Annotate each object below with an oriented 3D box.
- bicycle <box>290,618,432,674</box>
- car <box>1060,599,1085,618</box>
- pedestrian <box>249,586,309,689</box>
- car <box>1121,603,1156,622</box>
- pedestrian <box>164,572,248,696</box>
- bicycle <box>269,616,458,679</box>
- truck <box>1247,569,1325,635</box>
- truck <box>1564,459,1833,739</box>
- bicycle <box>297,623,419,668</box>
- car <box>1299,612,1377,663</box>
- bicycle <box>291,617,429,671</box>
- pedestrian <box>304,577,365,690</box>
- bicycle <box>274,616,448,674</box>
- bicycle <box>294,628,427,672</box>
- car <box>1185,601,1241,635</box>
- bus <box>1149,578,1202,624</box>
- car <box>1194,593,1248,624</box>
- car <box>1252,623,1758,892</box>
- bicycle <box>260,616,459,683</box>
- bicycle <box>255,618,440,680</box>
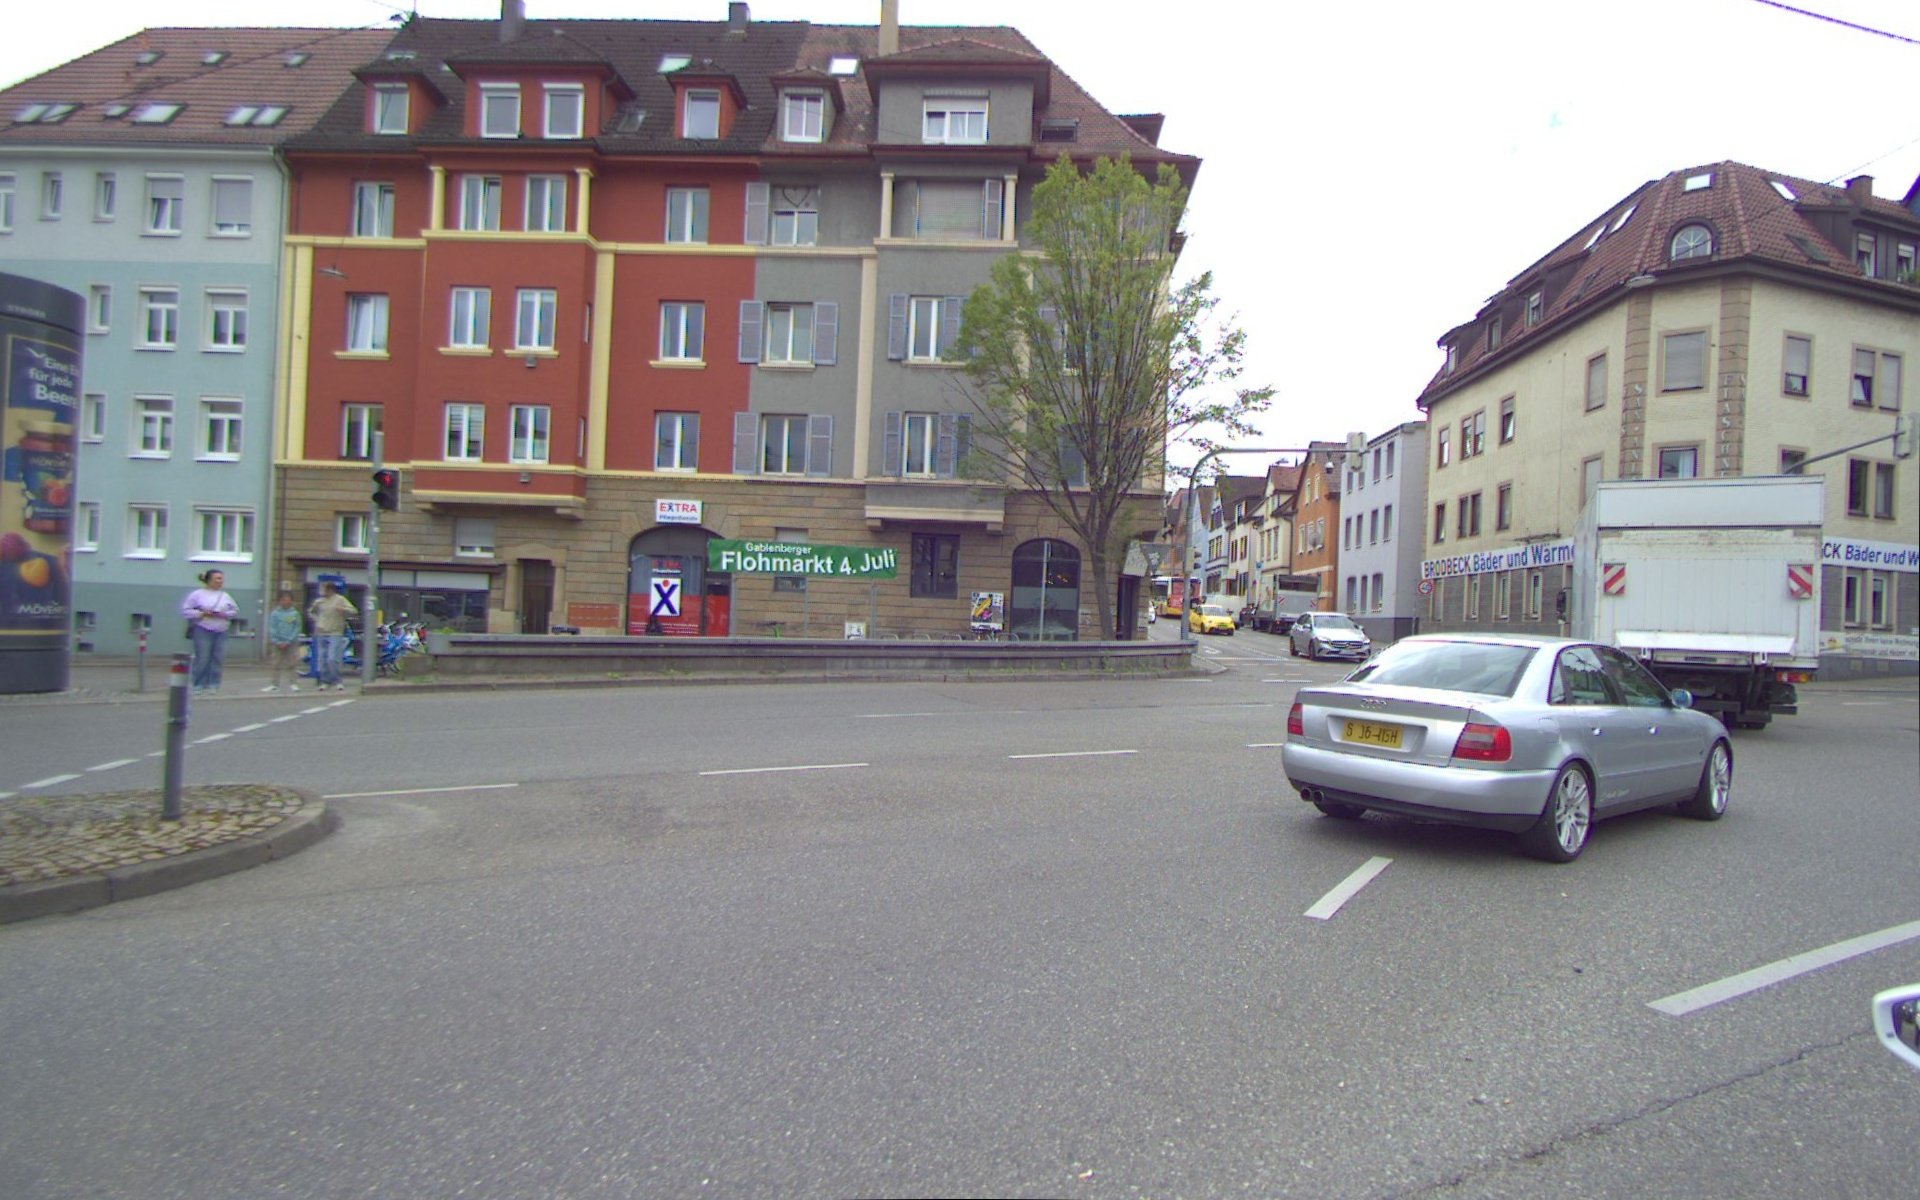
[{"bbox_3d":[-14.050,1.067,23.626,2.804,1.218,0.812,1,0,-33],"label":"bicycle"},{"bbox_3d":[9.552,0.686,85.418,1.810,1.556,4.001,1,0,3],"label":"car"},{"bbox_3d":[-9.234,0.492,13.638,0.576,1.356,0.572,1,1,-26],"label":"pedestrian"},{"bbox_3d":[11.429,0.763,64.523,1.727,1.142,3.672,1,0,3],"label":"car"},{"bbox_3d":[-9.885,0.424,13.203,0.728,1.567,0.790,1,1,-26],"label":"pedestrian"},{"bbox_3d":[-12.395,0.974,21.004,3.323,1.218,0.812,1,0,-33],"label":"bicycle"},{"bbox_3d":[18.207,0.081,56.418,2.645,3.399,5.440,2,1,3],"label":"truck"},{"bbox_3d":[12.089,0.077,17.228,2.685,3.591,8.406,2,-1,30],"label":"truck"},{"bbox_3d":[-15.370,1.142,25.690,2.633,1.084,0.629,1,0,-33],"label":"bicycle"},{"bbox_3d":[12.345,1.188,33.051,1.843,1.489,3.978,2,0,13],"label":"car"},{"bbox_3d":[-14.512,1.046,24.367,2.804,1.218,0.812,1,0,-33],"label":"bicycle"},{"bbox_3d":[-8.580,0.452,13.793,0.645,1.507,0.520,1,1,-26],"label":"pedestrian"},{"bbox_3d":[-13.517,1.000,22.769,3.323,1.218,0.897,1,0,-33],"label":"bicycle"},{"bbox_3d":[-14.946,1.227,25.093,2.804,1.034,0.812,1,0,-33],"label":"bicycle"},{"bbox_3d":[13.069,0.915,52.178,1.960,1.623,4.000,1,1,1],"label":"car"},{"bbox_3d":[16.365,0.048,76.795,2.754,3.286,7.664,1,0,3],"label":"bus"},{"bbox_3d":[15.777,0.491,60.926,2.024,1.823,4.335,1,0,-1],"label":"car"},{"bbox_3d":[4.131,0.911,7.377,4.087,1.383,1.617,1,2,-36],"label":"car"},{"bbox_3d":[-11.842,0.954,19.945,3.322,1.218,0.812,1,0,-33],"label":"bicycle"},{"bbox_3d":[-13.159,1.031,21.703,3.323,1.218,0.897,1,0,-33],"label":"bicycle"}]
